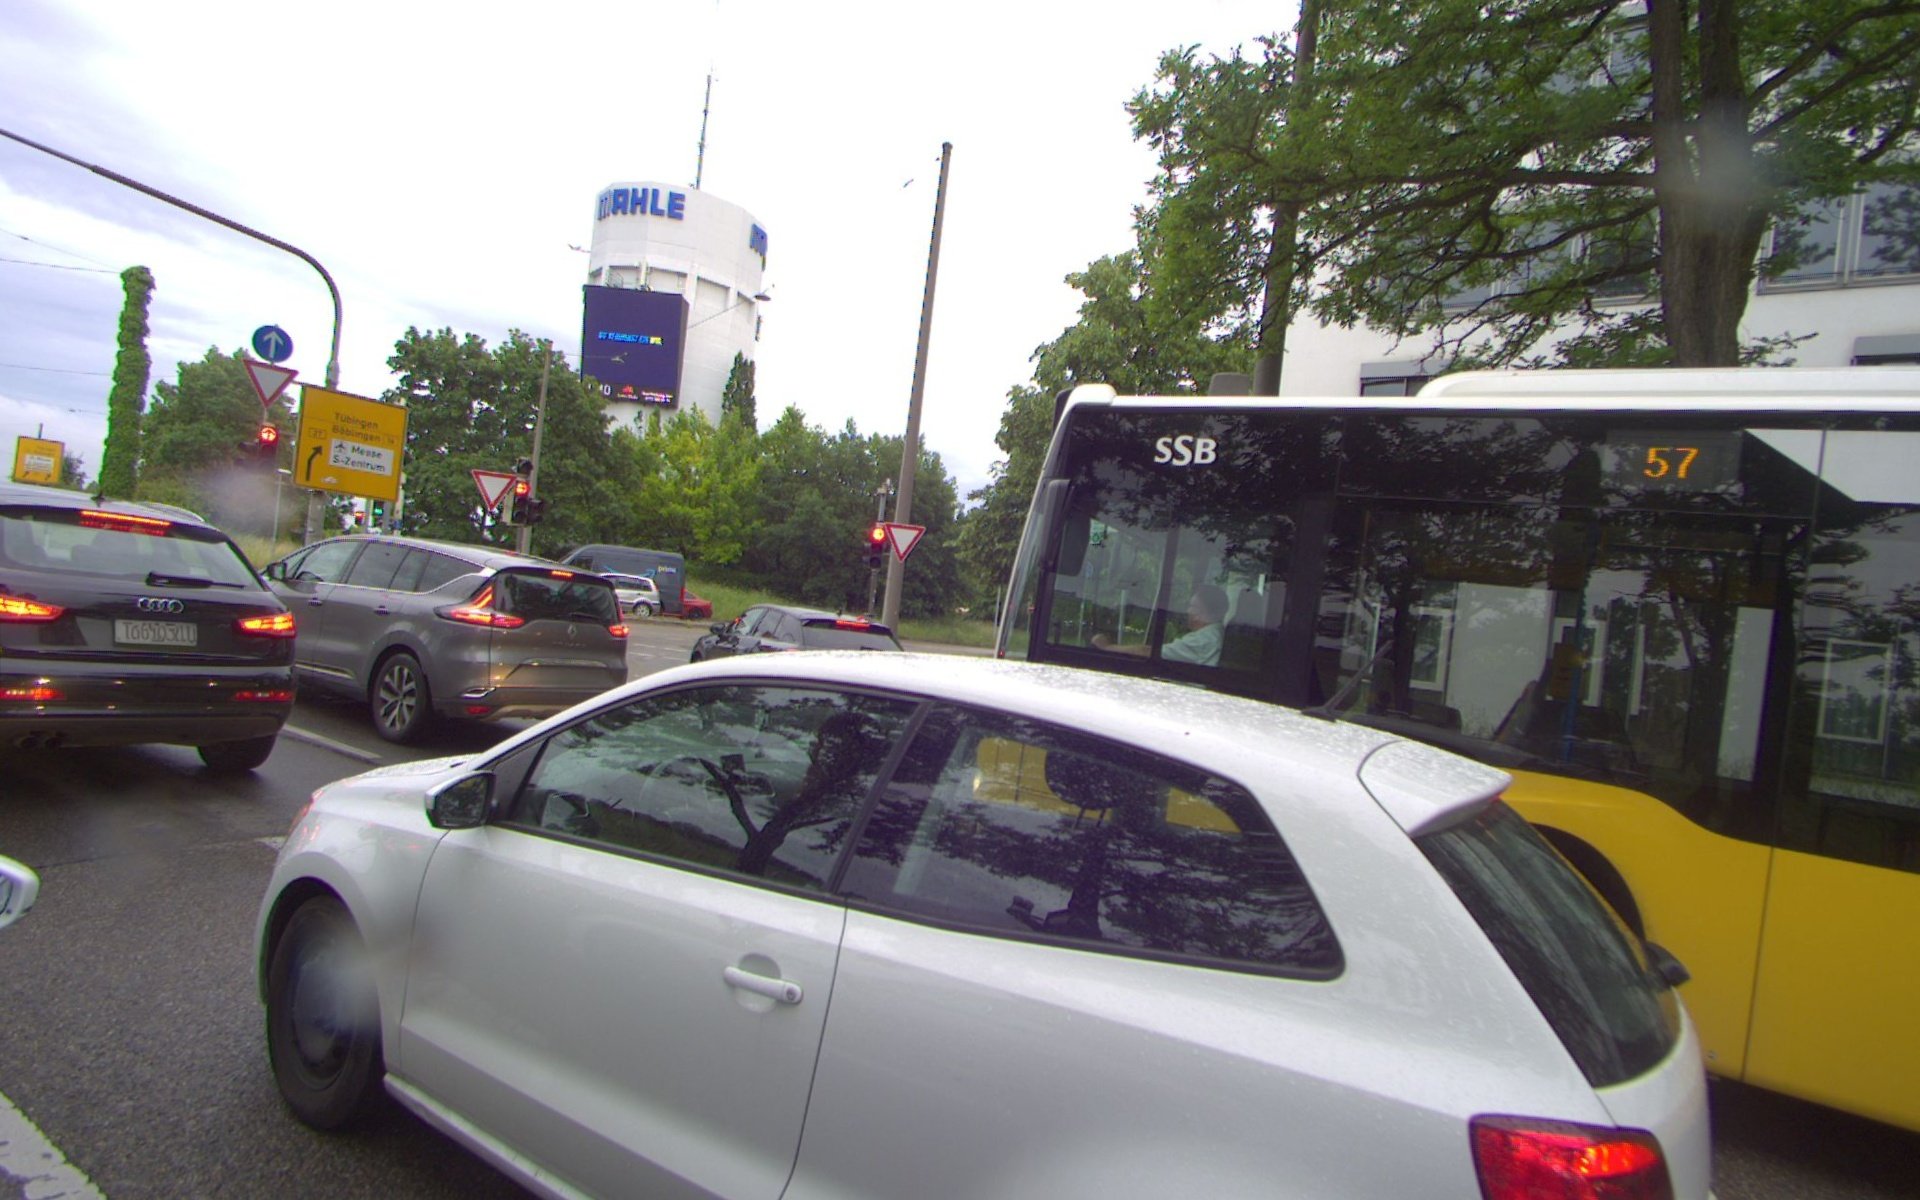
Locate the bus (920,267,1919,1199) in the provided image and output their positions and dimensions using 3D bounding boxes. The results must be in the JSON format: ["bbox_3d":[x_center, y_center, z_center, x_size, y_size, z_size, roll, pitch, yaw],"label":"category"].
[{"bbox_3d":[5.739,0.805,3.485,11.943,3.187,2.733,7,-2,32],"label":"bus"}]

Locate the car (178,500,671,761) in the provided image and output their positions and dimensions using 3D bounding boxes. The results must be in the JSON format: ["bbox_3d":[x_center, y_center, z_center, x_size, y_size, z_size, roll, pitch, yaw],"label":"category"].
[{"bbox_3d":[-5.115,0.206,9.460,4.488,1.694,1.869,7,-1,30],"label":"car"}]

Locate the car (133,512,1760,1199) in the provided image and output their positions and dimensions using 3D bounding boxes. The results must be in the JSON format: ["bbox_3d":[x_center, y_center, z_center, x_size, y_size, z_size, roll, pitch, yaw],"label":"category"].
[{"bbox_3d":[-0.366,0.717,2.808,3.748,1.447,1.745,6,-3,32],"label":"car"}]

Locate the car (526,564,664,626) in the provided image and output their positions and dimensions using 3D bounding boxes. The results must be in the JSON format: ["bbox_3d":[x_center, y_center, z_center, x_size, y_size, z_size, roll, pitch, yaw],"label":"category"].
[{"bbox_3d":[-12.606,-0.145,34.818,4.027,1.586,1.855,9,-4,-35],"label":"car"}]

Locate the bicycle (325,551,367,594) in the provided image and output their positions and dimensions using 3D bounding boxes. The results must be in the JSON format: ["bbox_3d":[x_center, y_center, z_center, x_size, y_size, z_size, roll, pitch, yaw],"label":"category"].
[{"bbox_3d":[-16.751,-0.762,27.421,0.803,1.035,2.308,6,-1,-34],"label":"bicycle"}]

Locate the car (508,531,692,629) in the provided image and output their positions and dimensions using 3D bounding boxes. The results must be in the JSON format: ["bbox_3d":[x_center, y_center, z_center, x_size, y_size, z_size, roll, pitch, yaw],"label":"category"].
[{"bbox_3d":[-13.466,-0.667,37.818,5.972,2.772,2.065,9,-3,-33],"label":"car"}]

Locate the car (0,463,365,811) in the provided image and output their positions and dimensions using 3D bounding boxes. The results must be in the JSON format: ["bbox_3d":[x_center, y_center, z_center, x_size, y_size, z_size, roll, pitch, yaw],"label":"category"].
[{"bbox_3d":[-5.873,0.081,6.265,4.045,1.613,1.889,6,-3,31],"label":"car"}]

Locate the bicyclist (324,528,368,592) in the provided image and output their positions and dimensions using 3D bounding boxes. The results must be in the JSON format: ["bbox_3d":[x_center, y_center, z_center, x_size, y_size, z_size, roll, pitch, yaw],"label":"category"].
[{"bbox_3d":[-16.743,-1.071,27.436,0.804,1.601,1.014,9,-3,-33],"label":"bicyclist"}]

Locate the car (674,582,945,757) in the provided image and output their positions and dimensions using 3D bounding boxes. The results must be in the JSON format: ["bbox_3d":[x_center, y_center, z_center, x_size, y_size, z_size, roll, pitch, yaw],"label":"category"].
[{"bbox_3d":[-2.040,0.753,12.450,1.850,1.517,4.117,5,2,-30],"label":"car"}]

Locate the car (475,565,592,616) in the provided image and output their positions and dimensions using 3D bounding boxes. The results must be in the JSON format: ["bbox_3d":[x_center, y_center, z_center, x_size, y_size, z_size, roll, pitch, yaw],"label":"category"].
[{"bbox_3d":[-18.004,-0.394,42.525,4.112,1.582,1.852,9,-3,-38],"label":"car"}]
